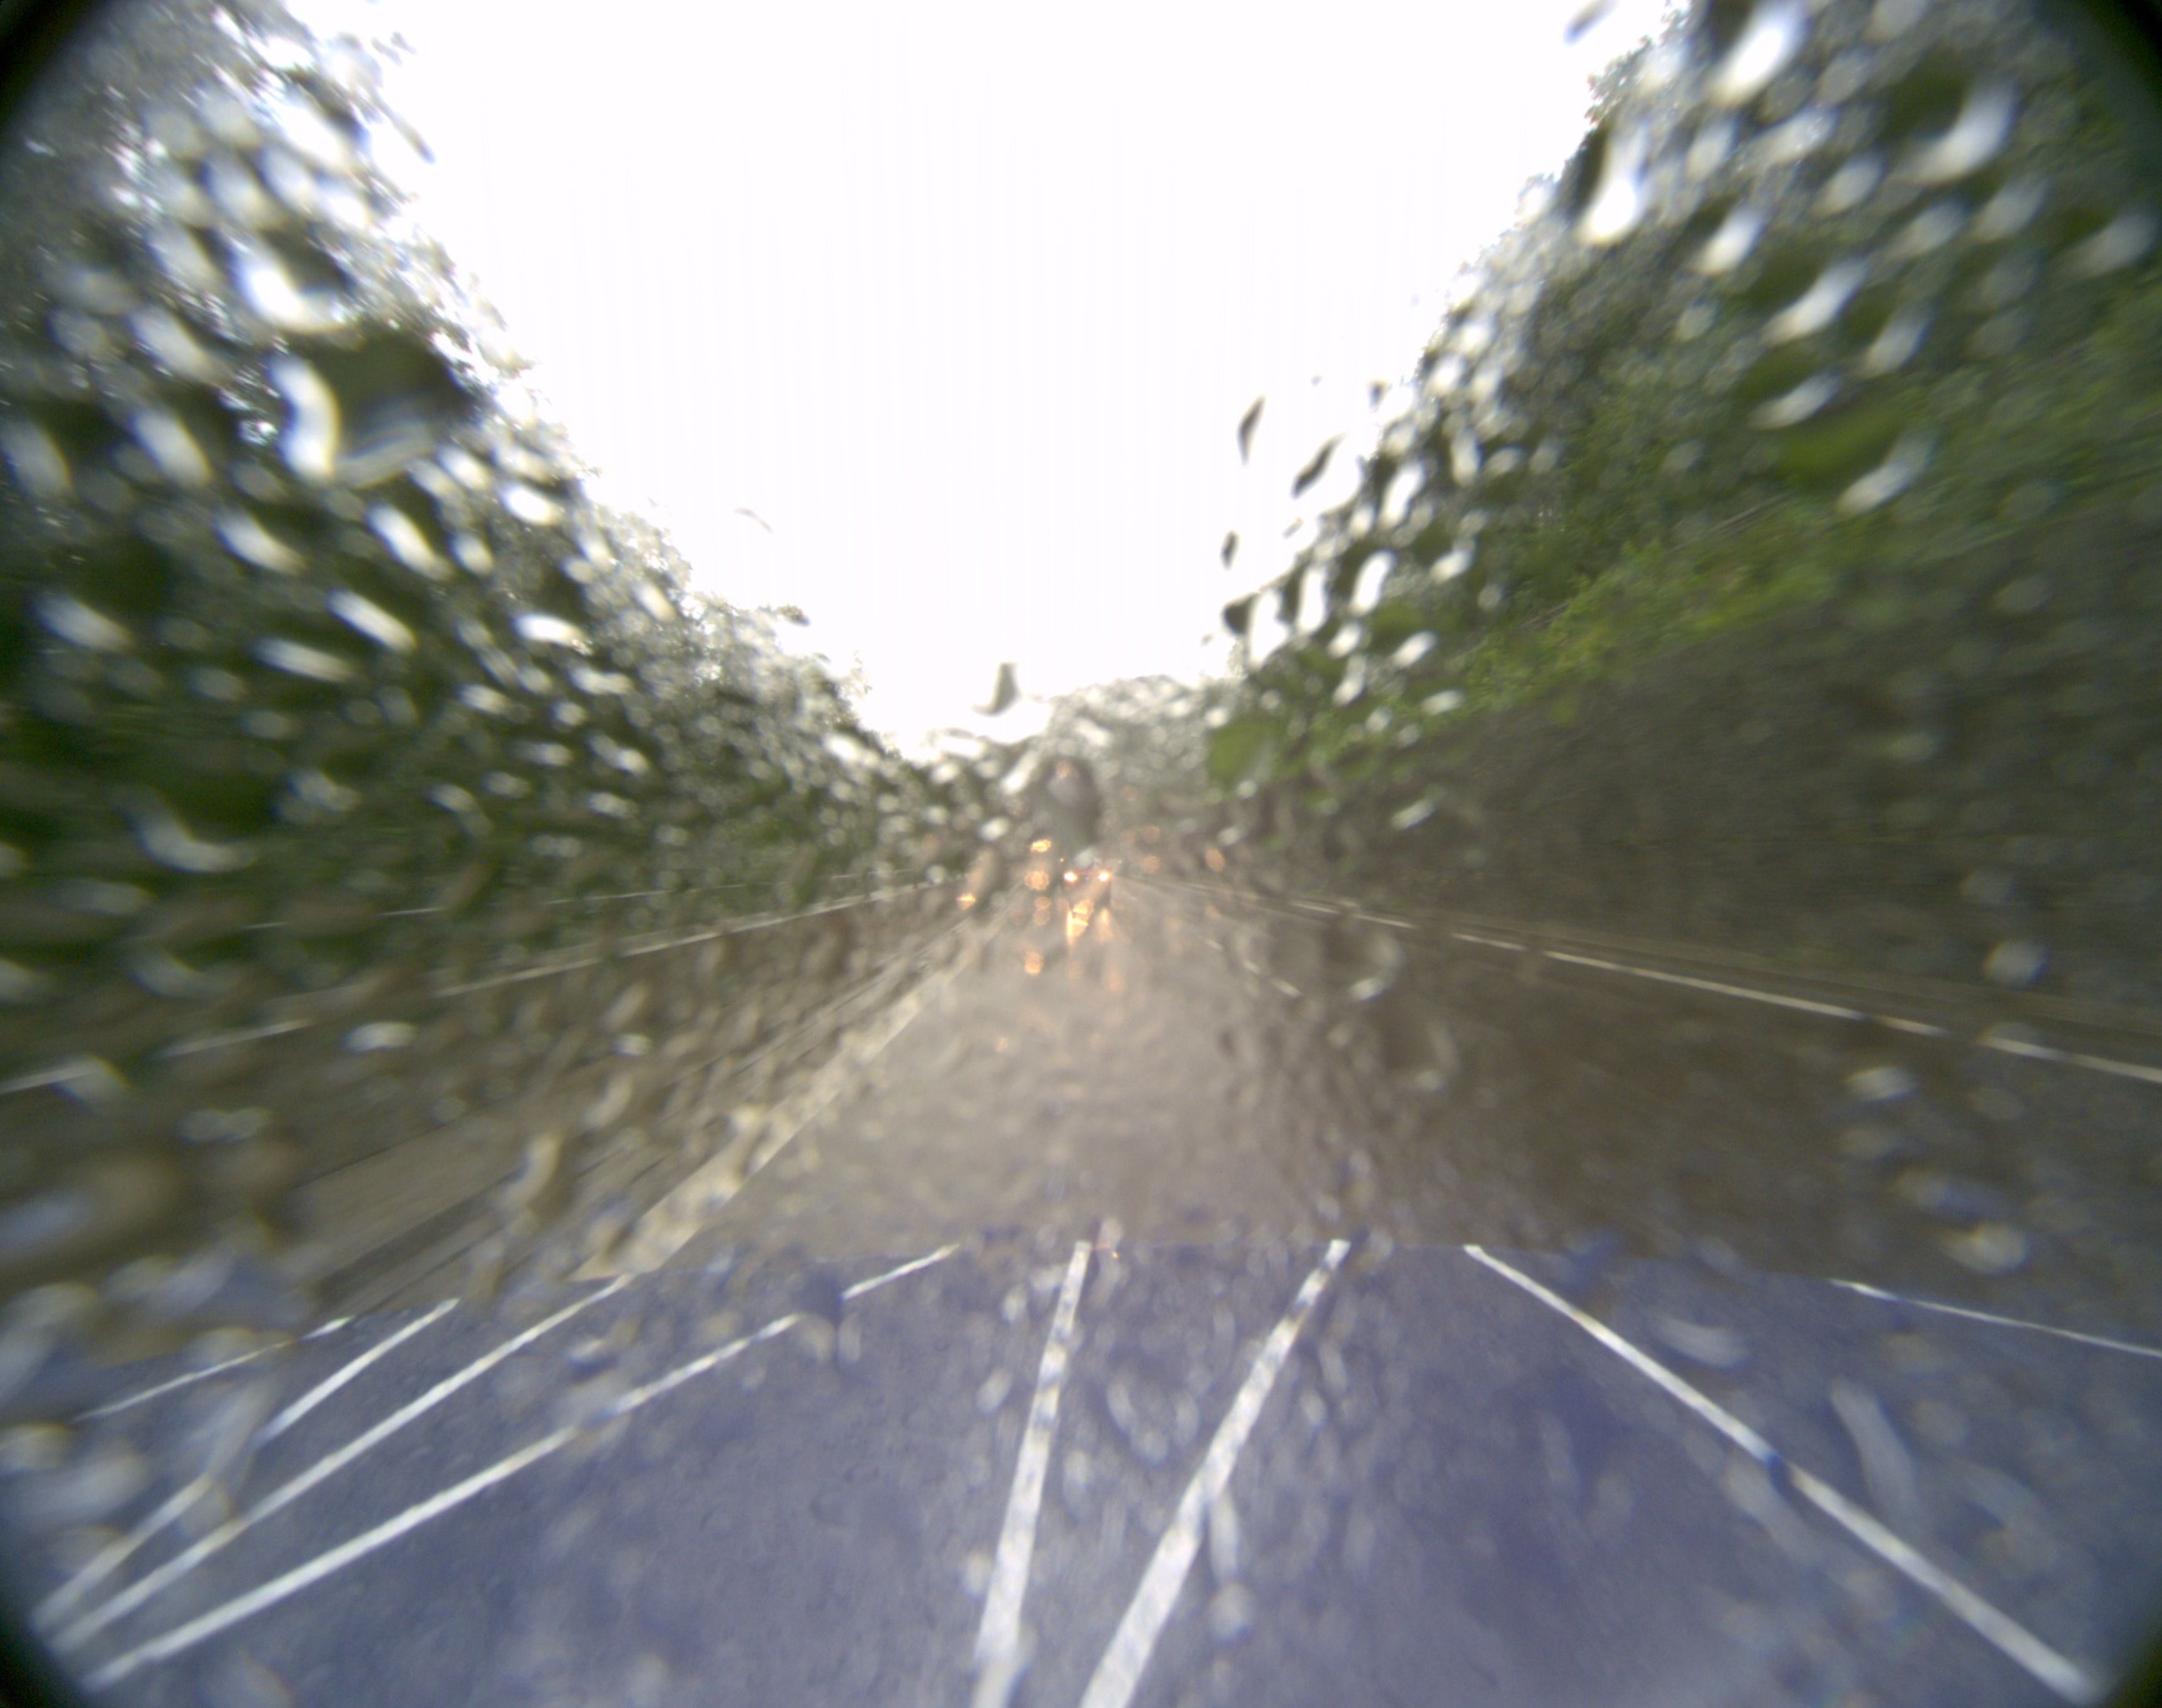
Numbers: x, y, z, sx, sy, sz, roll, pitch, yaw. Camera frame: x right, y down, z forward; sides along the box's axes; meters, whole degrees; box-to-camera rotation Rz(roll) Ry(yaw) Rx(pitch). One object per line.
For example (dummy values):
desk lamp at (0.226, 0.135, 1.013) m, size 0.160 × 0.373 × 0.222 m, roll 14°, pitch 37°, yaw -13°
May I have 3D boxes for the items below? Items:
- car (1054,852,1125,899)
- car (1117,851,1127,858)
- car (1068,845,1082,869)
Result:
car at (0.271, 0.726, 28.271) m, size 2.360 × 1.549 × 5.498 m, roll -1°, pitch 0°, yaw 0°
car at (9.440, 0.162, 174.651) m, size 1.772 × 1.464 × 4.003 m, roll -2°, pitch 0°, yaw 12°
car at (-0.799, 0.395, 101.410) m, size 1.742 × 3.008 × 3.999 m, roll 2°, pitch 1°, yaw -1°
